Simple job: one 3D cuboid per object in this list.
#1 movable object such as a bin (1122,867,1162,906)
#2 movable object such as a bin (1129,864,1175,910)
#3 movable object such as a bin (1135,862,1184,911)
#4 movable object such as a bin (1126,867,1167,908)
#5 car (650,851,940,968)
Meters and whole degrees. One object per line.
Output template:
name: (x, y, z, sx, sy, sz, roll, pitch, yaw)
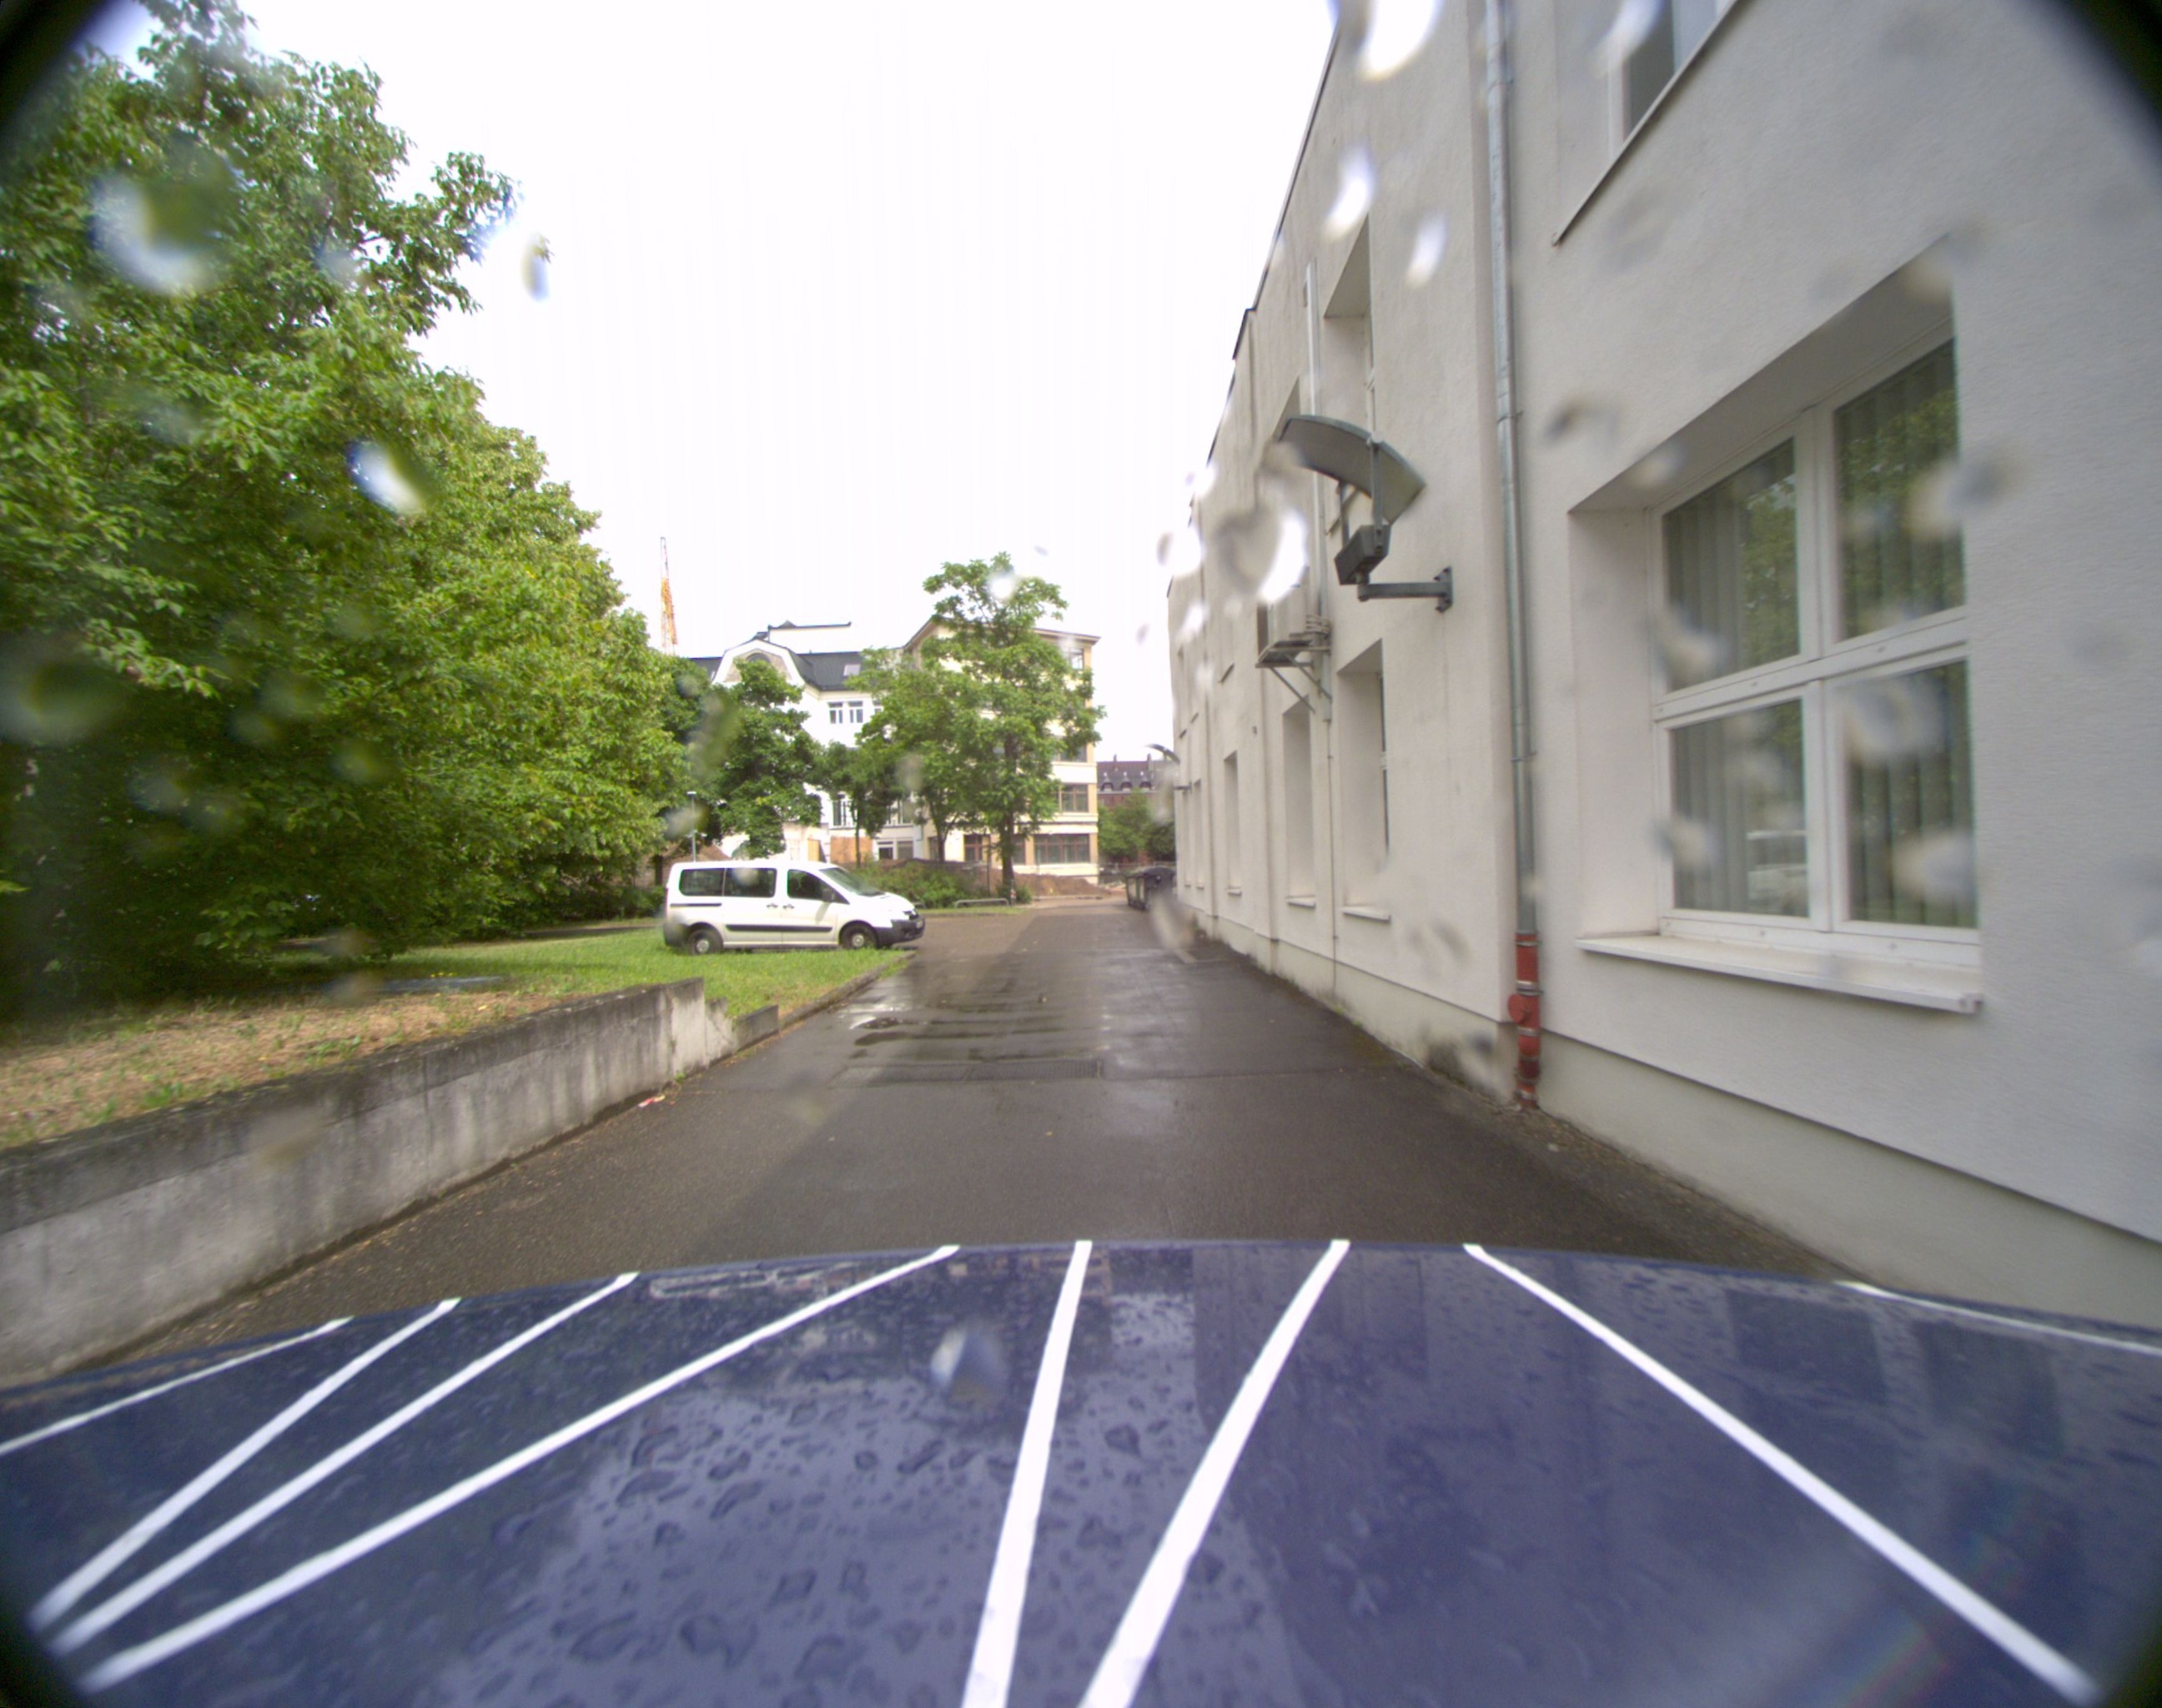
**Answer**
movable object such as a bin: (2.454, 1.318, 30.632, 1.412, 1.461, 1.561, -3, -2, 0)
movable object such as a bin: (2.429, 1.125, 26.131, 1.363, 1.461, 1.366, -3, -2, 0)
movable object such as a bin: (2.509, 1.024, 24.413, 1.363, 1.461, 1.366, -3, -2, 0)
movable object such as a bin: (2.471, 1.257, 28.980, 1.363, 1.461, 1.465, -3, -2, 0)
car: (-5.546, 1.057, 15.163, 4.948, 2.001, 2.001, -2, -1, 3)
